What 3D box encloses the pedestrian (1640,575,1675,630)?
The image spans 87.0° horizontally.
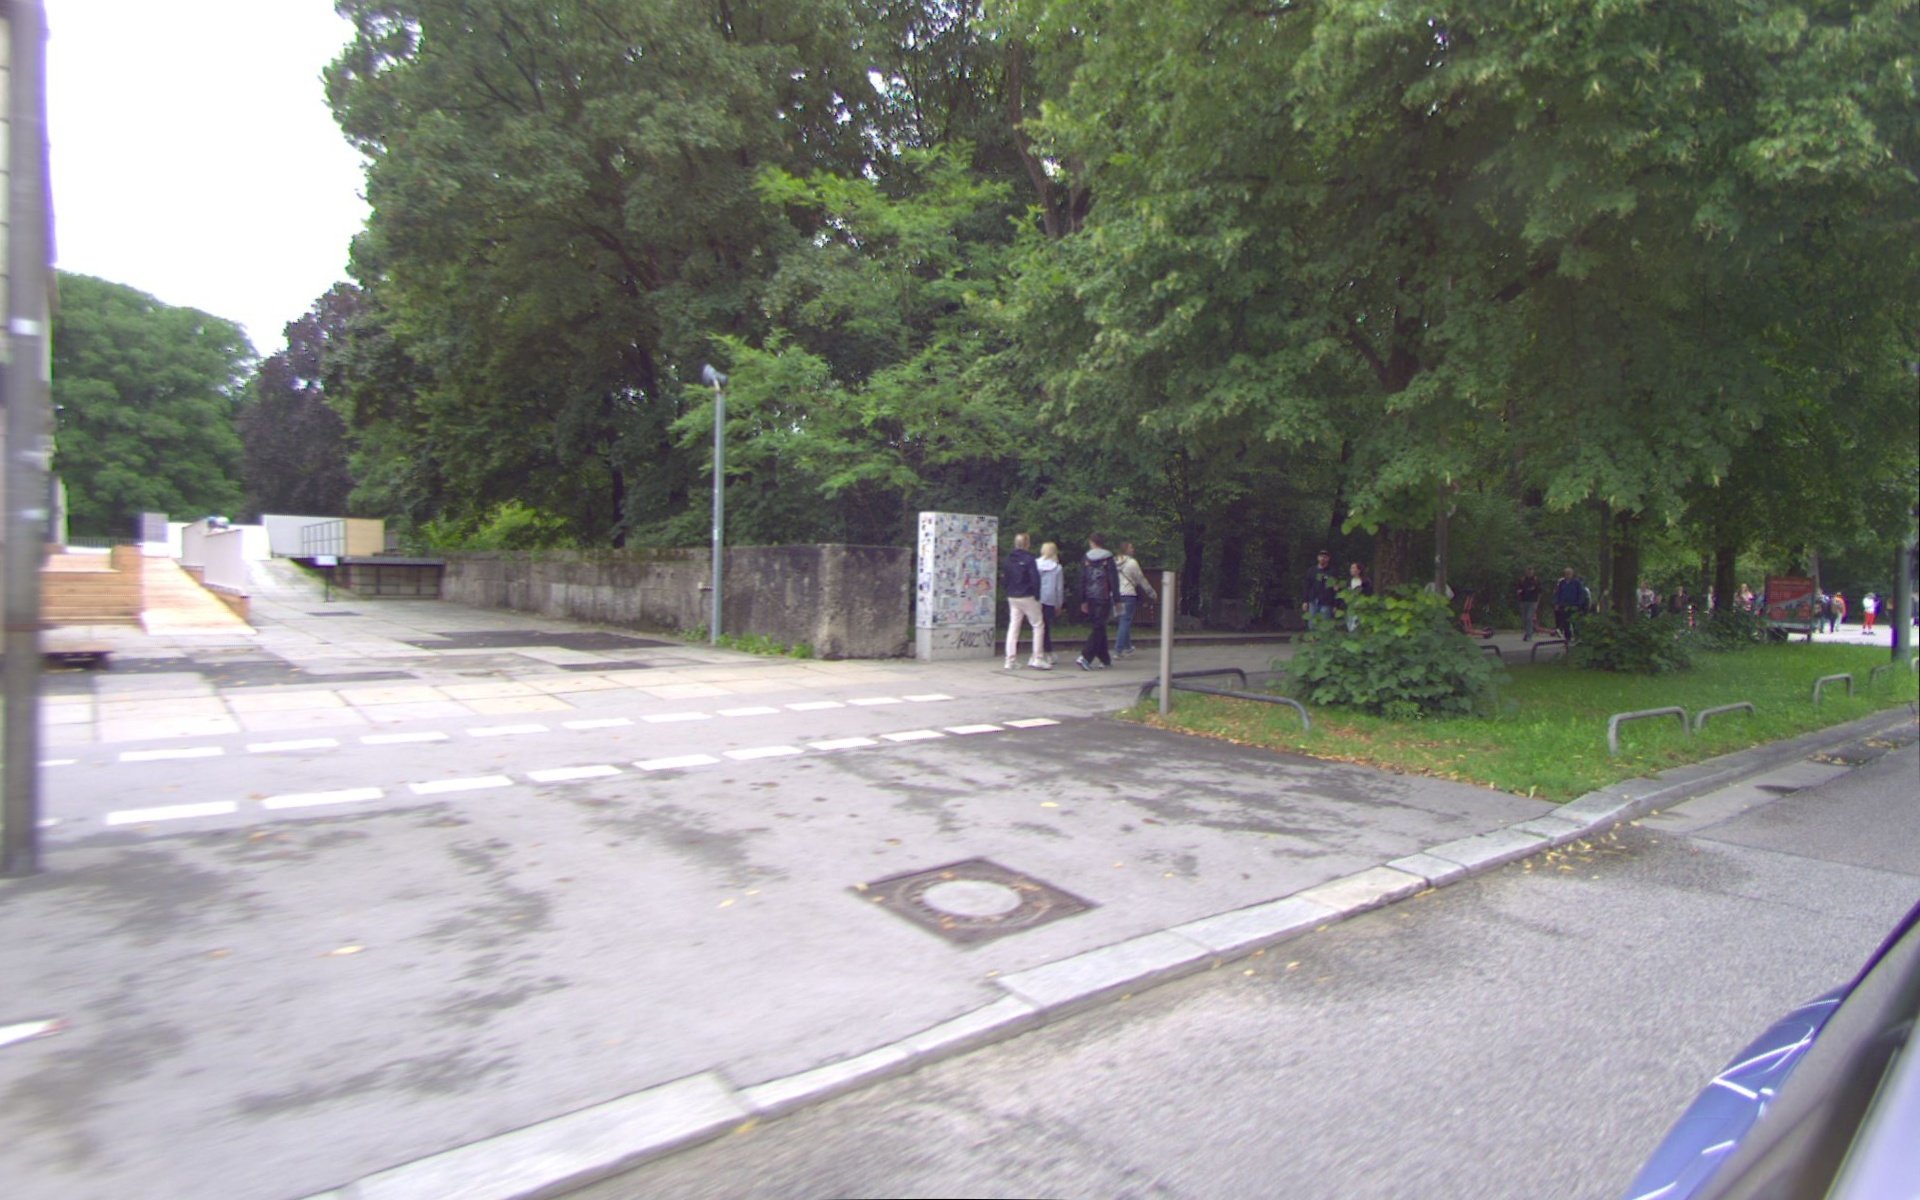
[{"bbox_3d":[19.449,0.066,28.220,0.552,1.534,0.682,0,0,-40],"label":"pedestrian"}]

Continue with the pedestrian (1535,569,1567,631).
[{"bbox_3d":[16.008,-0.009,27.392,0.679,1.658,0.655,0,0,37],"label":"pedestrian"}]

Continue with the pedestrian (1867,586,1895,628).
[{"bbox_3d":[37.800,0.275,41.526,0.636,1.712,0.728,0,0,-36],"label":"pedestrian"}]

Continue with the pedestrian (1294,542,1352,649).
[{"bbox_3d":[6.192,-0.076,17.248,0.782,1.786,0.609,0,0,-38],"label":"pedestrian"}]

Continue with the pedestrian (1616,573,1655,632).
[{"bbox_3d":[18.286,0.065,27.407,0.857,1.586,0.682,0,0,-40],"label":"pedestrian"}]

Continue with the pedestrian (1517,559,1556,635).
[{"bbox_3d":[14.175,-0.073,24.895,0.835,1.845,0.589,0,0,-40],"label":"pedestrian"}]

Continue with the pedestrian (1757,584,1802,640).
[{"bbox_3d":[24.827,0.359,30.663,0.832,1.664,0.758,0,0,-26],"label":"pedestrian"}]

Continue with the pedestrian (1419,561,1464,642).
[{"bbox_3d":[10.870,0.025,22.850,0.767,1.796,0.632,0,0,-38],"label":"pedestrian"}]

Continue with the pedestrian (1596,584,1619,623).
[{"bbox_3d":[28.297,0.142,44.219,0.683,1.717,0.609,0,0,14],"label":"pedestrian"}]

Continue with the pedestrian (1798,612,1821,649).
[{"bbox_3d":[44.284,1.596,52.742,0.715,1.898,0.814,0,0,-39],"label":"pedestrian"}]

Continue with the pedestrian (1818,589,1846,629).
[{"bbox_3d":[36.471,0.365,42.352,0.683,1.672,0.608,0,0,16],"label":"pedestrian"}]

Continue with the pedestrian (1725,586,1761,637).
[{"bbox_3d":[26.071,0.382,33.702,0.637,1.664,0.758,0,0,-26],"label":"pedestrian"}]

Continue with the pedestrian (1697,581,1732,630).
[{"bbox_3d":[25.793,0.178,34.599,0.676,1.664,0.758,0,0,-26],"label":"pedestrian"}]

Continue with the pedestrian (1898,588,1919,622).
[{"bbox_3d":[48.321,0.253,51.498,0.636,1.712,0.728,0,0,-36],"label":"pedestrian"}]

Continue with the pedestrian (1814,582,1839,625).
[{"bbox_3d":[38.866,0.144,45.380,0.678,1.896,0.612,0,0,-25],"label":"pedestrian"}]

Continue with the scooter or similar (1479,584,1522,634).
[{"bbox_3d":[13.727,0.226,25.701,0.909,1.239,0.306,1,0,-1],"label":"scooter or similar"}]

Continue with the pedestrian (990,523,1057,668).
[{"bbox_3d":[0.846,-0.069,13.314,0.590,1.831,0.718,3,2,25],"label":"pedestrian"}]

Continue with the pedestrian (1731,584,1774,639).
[{"bbox_3d":[24.635,0.354,31.470,0.832,1.664,0.758,0,0,-26],"label":"pedestrian"}]

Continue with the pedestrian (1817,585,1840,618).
[{"bbox_3d":[47.268,0.081,55.072,0.715,1.790,0.814,0,0,-39],"label":"pedestrian"}]

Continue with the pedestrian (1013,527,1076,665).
[{"bbox_3d":[1.177,-0.072,13.978,0.590,1.831,0.718,3,2,25],"label":"pedestrian"}]

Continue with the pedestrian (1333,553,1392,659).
[{"bbox_3d":[6.685,0.094,16.809,0.740,1.702,0.609,0,0,-38],"label":"pedestrian"}]

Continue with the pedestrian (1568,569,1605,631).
[{"bbox_3d":[17.215,-0.005,27.815,0.591,1.658,0.682,0,2,-40],"label":"pedestrian"}]

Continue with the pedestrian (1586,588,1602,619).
[{"bbox_3d":[30.519,0.155,48.733,0.507,1.492,0.409,0,0,-19],"label":"pedestrian"}]

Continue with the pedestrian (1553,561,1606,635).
[{"bbox_3d":[14.930,-0.048,24.410,0.832,1.759,0.758,0,0,-26],"label":"pedestrian"}]

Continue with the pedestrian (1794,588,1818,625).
[{"bbox_3d":[43.708,0.329,52.290,0.715,1.941,0.814,0,0,-39],"label":"pedestrian"}]

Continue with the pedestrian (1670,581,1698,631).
[{"bbox_3d":[28.063,0.229,39.243,0.683,1.896,0.609,0,0,14],"label":"pedestrian"}]

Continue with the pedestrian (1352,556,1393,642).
[{"bbox_3d":[8.282,-0.020,20.318,0.543,1.697,0.581,0,0,-37],"label":"pedestrian"}]

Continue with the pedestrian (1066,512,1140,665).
[{"bbox_3d":[1.965,-0.173,13.895,0.712,2.038,0.595,0,3,-41],"label":"pedestrian"}]

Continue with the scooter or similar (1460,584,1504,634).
[{"bbox_3d":[13.060,0.220,25.339,0.909,1.239,0.306,1,0,-1],"label":"scooter or similar"}]

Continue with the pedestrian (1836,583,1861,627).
[{"bbox_3d":[39.697,0.214,45.195,0.678,1.939,0.612,0,0,-25],"label":"pedestrian"}]

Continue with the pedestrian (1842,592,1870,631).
[{"bbox_3d":[37.099,0.464,41.907,0.683,1.598,0.609,0,0,14],"label":"pedestrian"}]

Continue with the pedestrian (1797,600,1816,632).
[{"bbox_3d":[35.672,0.657,42.651,0.636,1.343,0.459,0,0,-36],"label":"pedestrian"}]

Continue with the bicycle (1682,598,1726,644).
[{"bbox_3d":[17.169,0.467,23.329,2.042,1.034,0.385,0,0,-41],"label":"bicycle"}]

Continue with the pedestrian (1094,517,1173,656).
[{"bbox_3d":[2.638,-0.217,15.395,0.763,2.038,0.765,0,4,-41],"label":"pedestrian"}]
